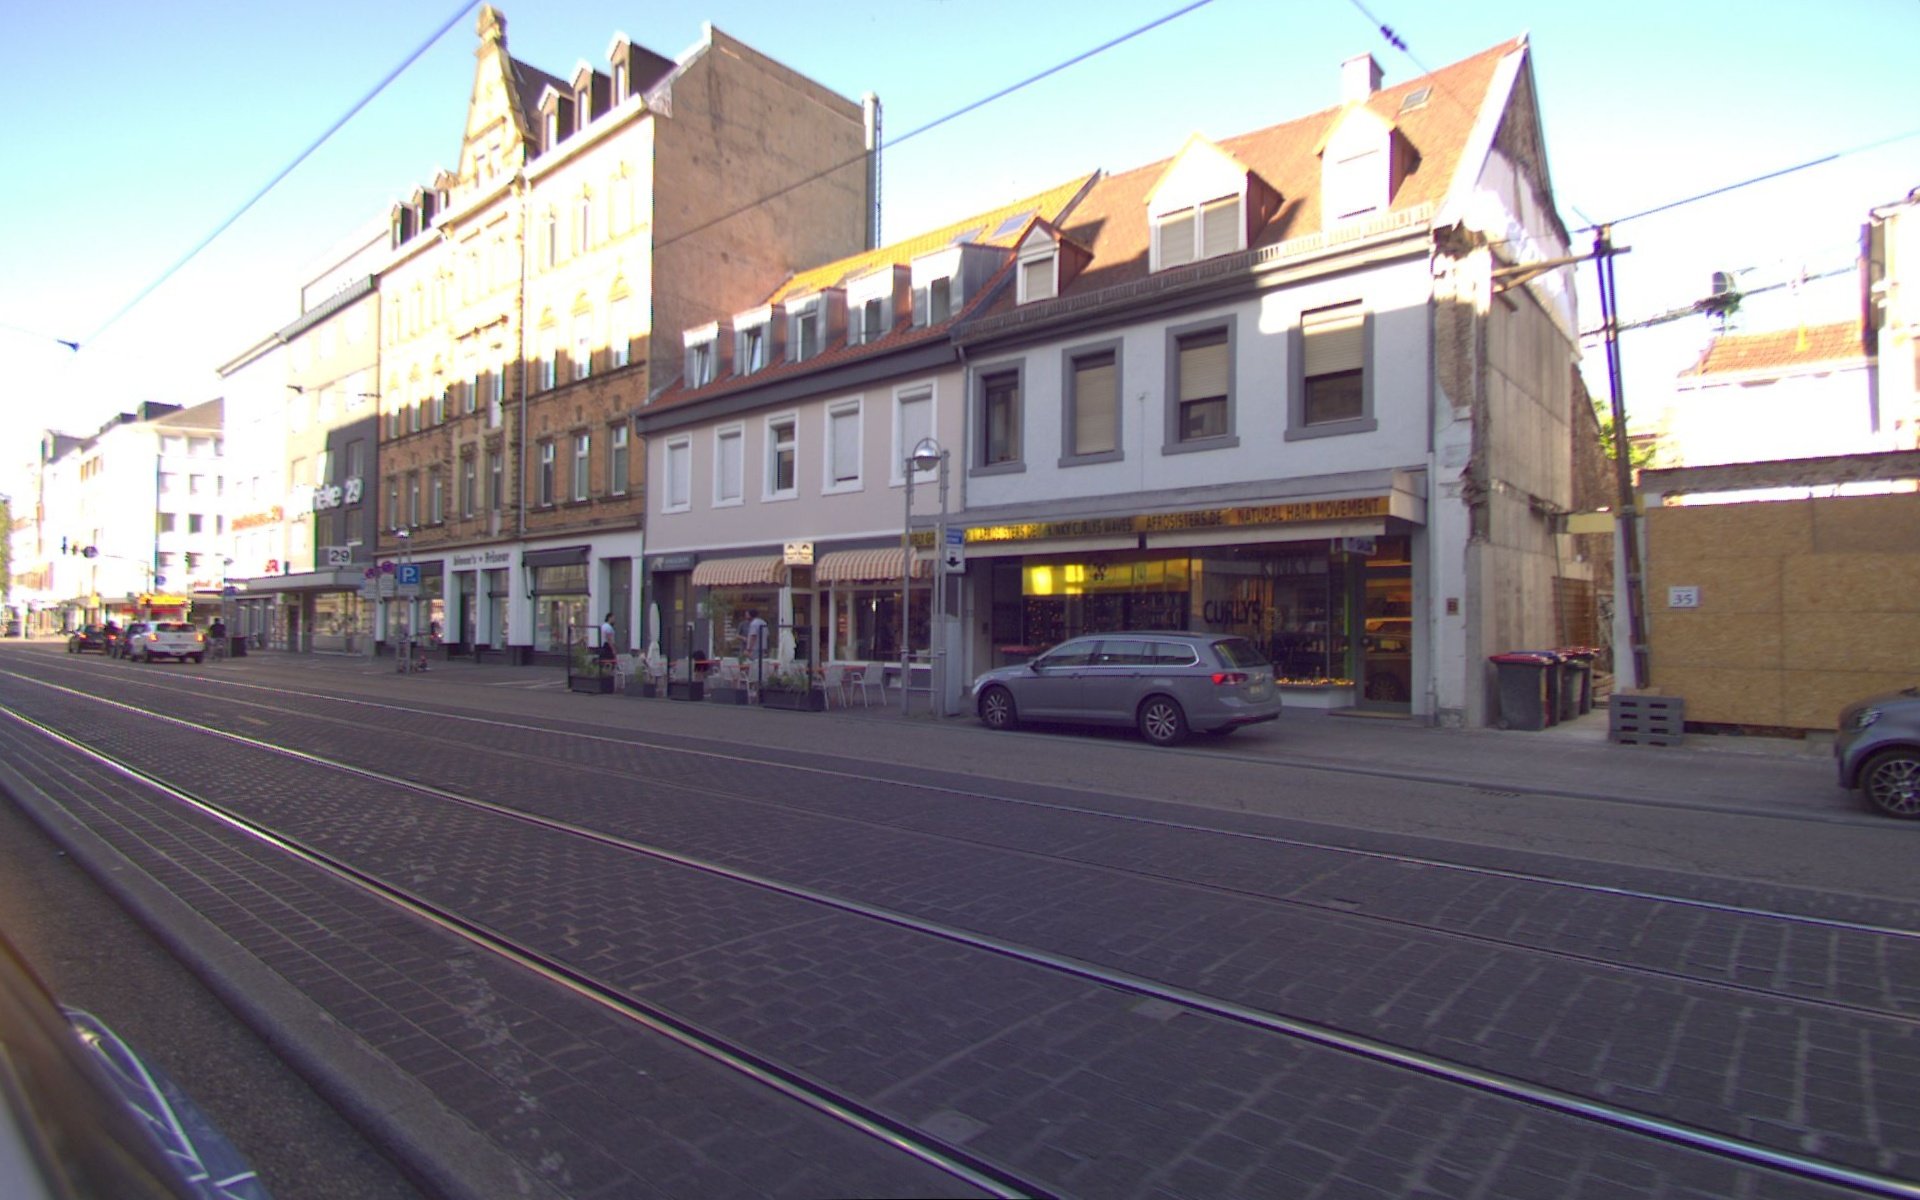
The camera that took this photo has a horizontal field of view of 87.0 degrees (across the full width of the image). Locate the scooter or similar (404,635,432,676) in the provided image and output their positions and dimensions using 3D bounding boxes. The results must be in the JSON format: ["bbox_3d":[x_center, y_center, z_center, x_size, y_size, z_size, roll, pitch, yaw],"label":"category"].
[{"bbox_3d":[-17.210,1.745,32.124,1.201,1.232,0.399,-1,0,41],"label":"scooter or similar"}]

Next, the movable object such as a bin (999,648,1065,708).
[{"bbox_3d":[1.353,1.452,19.082,1.029,1.071,0.693,-1,-2,41],"label":"movable object such as a bin"}]

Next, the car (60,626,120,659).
[{"bbox_3d":[-42.786,2.063,49.764,3.998,1.542,1.645,-1,-3,41],"label":"car"}]

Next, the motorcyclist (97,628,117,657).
[{"bbox_3d":[-39.146,1.948,46.433,0.655,1.313,0.533,-1,-3,41],"label":"motorcyclist"}]

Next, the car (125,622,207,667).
[{"bbox_3d":[-30.499,1.684,38.839,3.674,1.647,1.779,-1,-2,41],"label":"car"}]

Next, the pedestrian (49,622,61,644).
[{"bbox_3d":[-81.723,2.985,91.385,0.620,1.965,0.661,-1,0,41],"label":"pedestrian"}]

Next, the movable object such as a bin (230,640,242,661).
[{"bbox_3d":[-33.116,2.300,46.300,0.467,0.955,0.321,-1,-2,41],"label":"movable object such as a bin"}]

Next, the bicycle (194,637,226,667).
[{"bbox_3d":[-30.742,2.108,41.480,2.099,1.157,0.602,-1,0,41],"label":"bicycle"}]

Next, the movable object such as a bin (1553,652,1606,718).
[{"bbox_3d":[10.059,1.372,16.426,0.644,0.995,0.593,-1,0,41],"label":"movable object such as a bin"}]

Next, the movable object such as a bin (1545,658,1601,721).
[{"bbox_3d":[9.512,1.377,15.703,0.644,0.889,0.593,-1,0,41],"label":"movable object such as a bin"}]

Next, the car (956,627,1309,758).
[{"bbox_3d":[2.308,1.169,14.460,4.761,1.526,1.798,-1,-1,41],"label":"car"}]

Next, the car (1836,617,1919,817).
[{"bbox_3d":[9.152,0.969,8.348,2.890,1.616,1.679,-1,0,41],"label":"car"}]

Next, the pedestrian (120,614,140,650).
[{"bbox_3d":[-43.818,1.684,53.444,0.635,1.855,0.696,-1,0,41],"label":"pedestrian"}]

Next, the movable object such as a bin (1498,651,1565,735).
[{"bbox_3d":[8.073,1.293,14.294,0.696,1.102,0.653,-1,0,41],"label":"movable object such as a bin"}]

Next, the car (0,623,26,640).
[{"bbox_3d":[-90.331,2.959,96.330,3.462,1.544,1.609,-1,-4,41],"label":"car"}]

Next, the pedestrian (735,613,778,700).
[{"bbox_3d":[-4.261,1.159,21.244,0.580,1.775,0.651,-1,0,33],"label":"pedestrian"}]

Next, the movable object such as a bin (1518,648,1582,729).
[{"bbox_3d":[8.665,1.287,14.868,0.696,1.102,0.653,-1,0,41],"label":"movable object such as a bin"}]

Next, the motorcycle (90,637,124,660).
[{"bbox_3d":[-39.138,2.218,46.423,1.934,1.000,0.895,-1,-3,41],"label":"motorcycle"}]

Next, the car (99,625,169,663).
[{"bbox_3d":[-35.845,1.901,43.890,3.998,1.542,1.645,-1,-3,41],"label":"car"}]

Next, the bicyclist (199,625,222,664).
[{"bbox_3d":[-30.620,1.813,41.353,0.861,1.558,0.569,-1,0,41],"label":"bicyclist"}]

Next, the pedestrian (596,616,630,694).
[{"bbox_3d":[-8.325,1.293,24.247,0.572,1.819,0.660,-1,0,-37],"label":"pedestrian"}]

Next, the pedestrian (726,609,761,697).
[{"bbox_3d":[-4.745,1.147,22.157,0.647,1.863,0.583,-1,0,-19],"label":"pedestrian"}]
